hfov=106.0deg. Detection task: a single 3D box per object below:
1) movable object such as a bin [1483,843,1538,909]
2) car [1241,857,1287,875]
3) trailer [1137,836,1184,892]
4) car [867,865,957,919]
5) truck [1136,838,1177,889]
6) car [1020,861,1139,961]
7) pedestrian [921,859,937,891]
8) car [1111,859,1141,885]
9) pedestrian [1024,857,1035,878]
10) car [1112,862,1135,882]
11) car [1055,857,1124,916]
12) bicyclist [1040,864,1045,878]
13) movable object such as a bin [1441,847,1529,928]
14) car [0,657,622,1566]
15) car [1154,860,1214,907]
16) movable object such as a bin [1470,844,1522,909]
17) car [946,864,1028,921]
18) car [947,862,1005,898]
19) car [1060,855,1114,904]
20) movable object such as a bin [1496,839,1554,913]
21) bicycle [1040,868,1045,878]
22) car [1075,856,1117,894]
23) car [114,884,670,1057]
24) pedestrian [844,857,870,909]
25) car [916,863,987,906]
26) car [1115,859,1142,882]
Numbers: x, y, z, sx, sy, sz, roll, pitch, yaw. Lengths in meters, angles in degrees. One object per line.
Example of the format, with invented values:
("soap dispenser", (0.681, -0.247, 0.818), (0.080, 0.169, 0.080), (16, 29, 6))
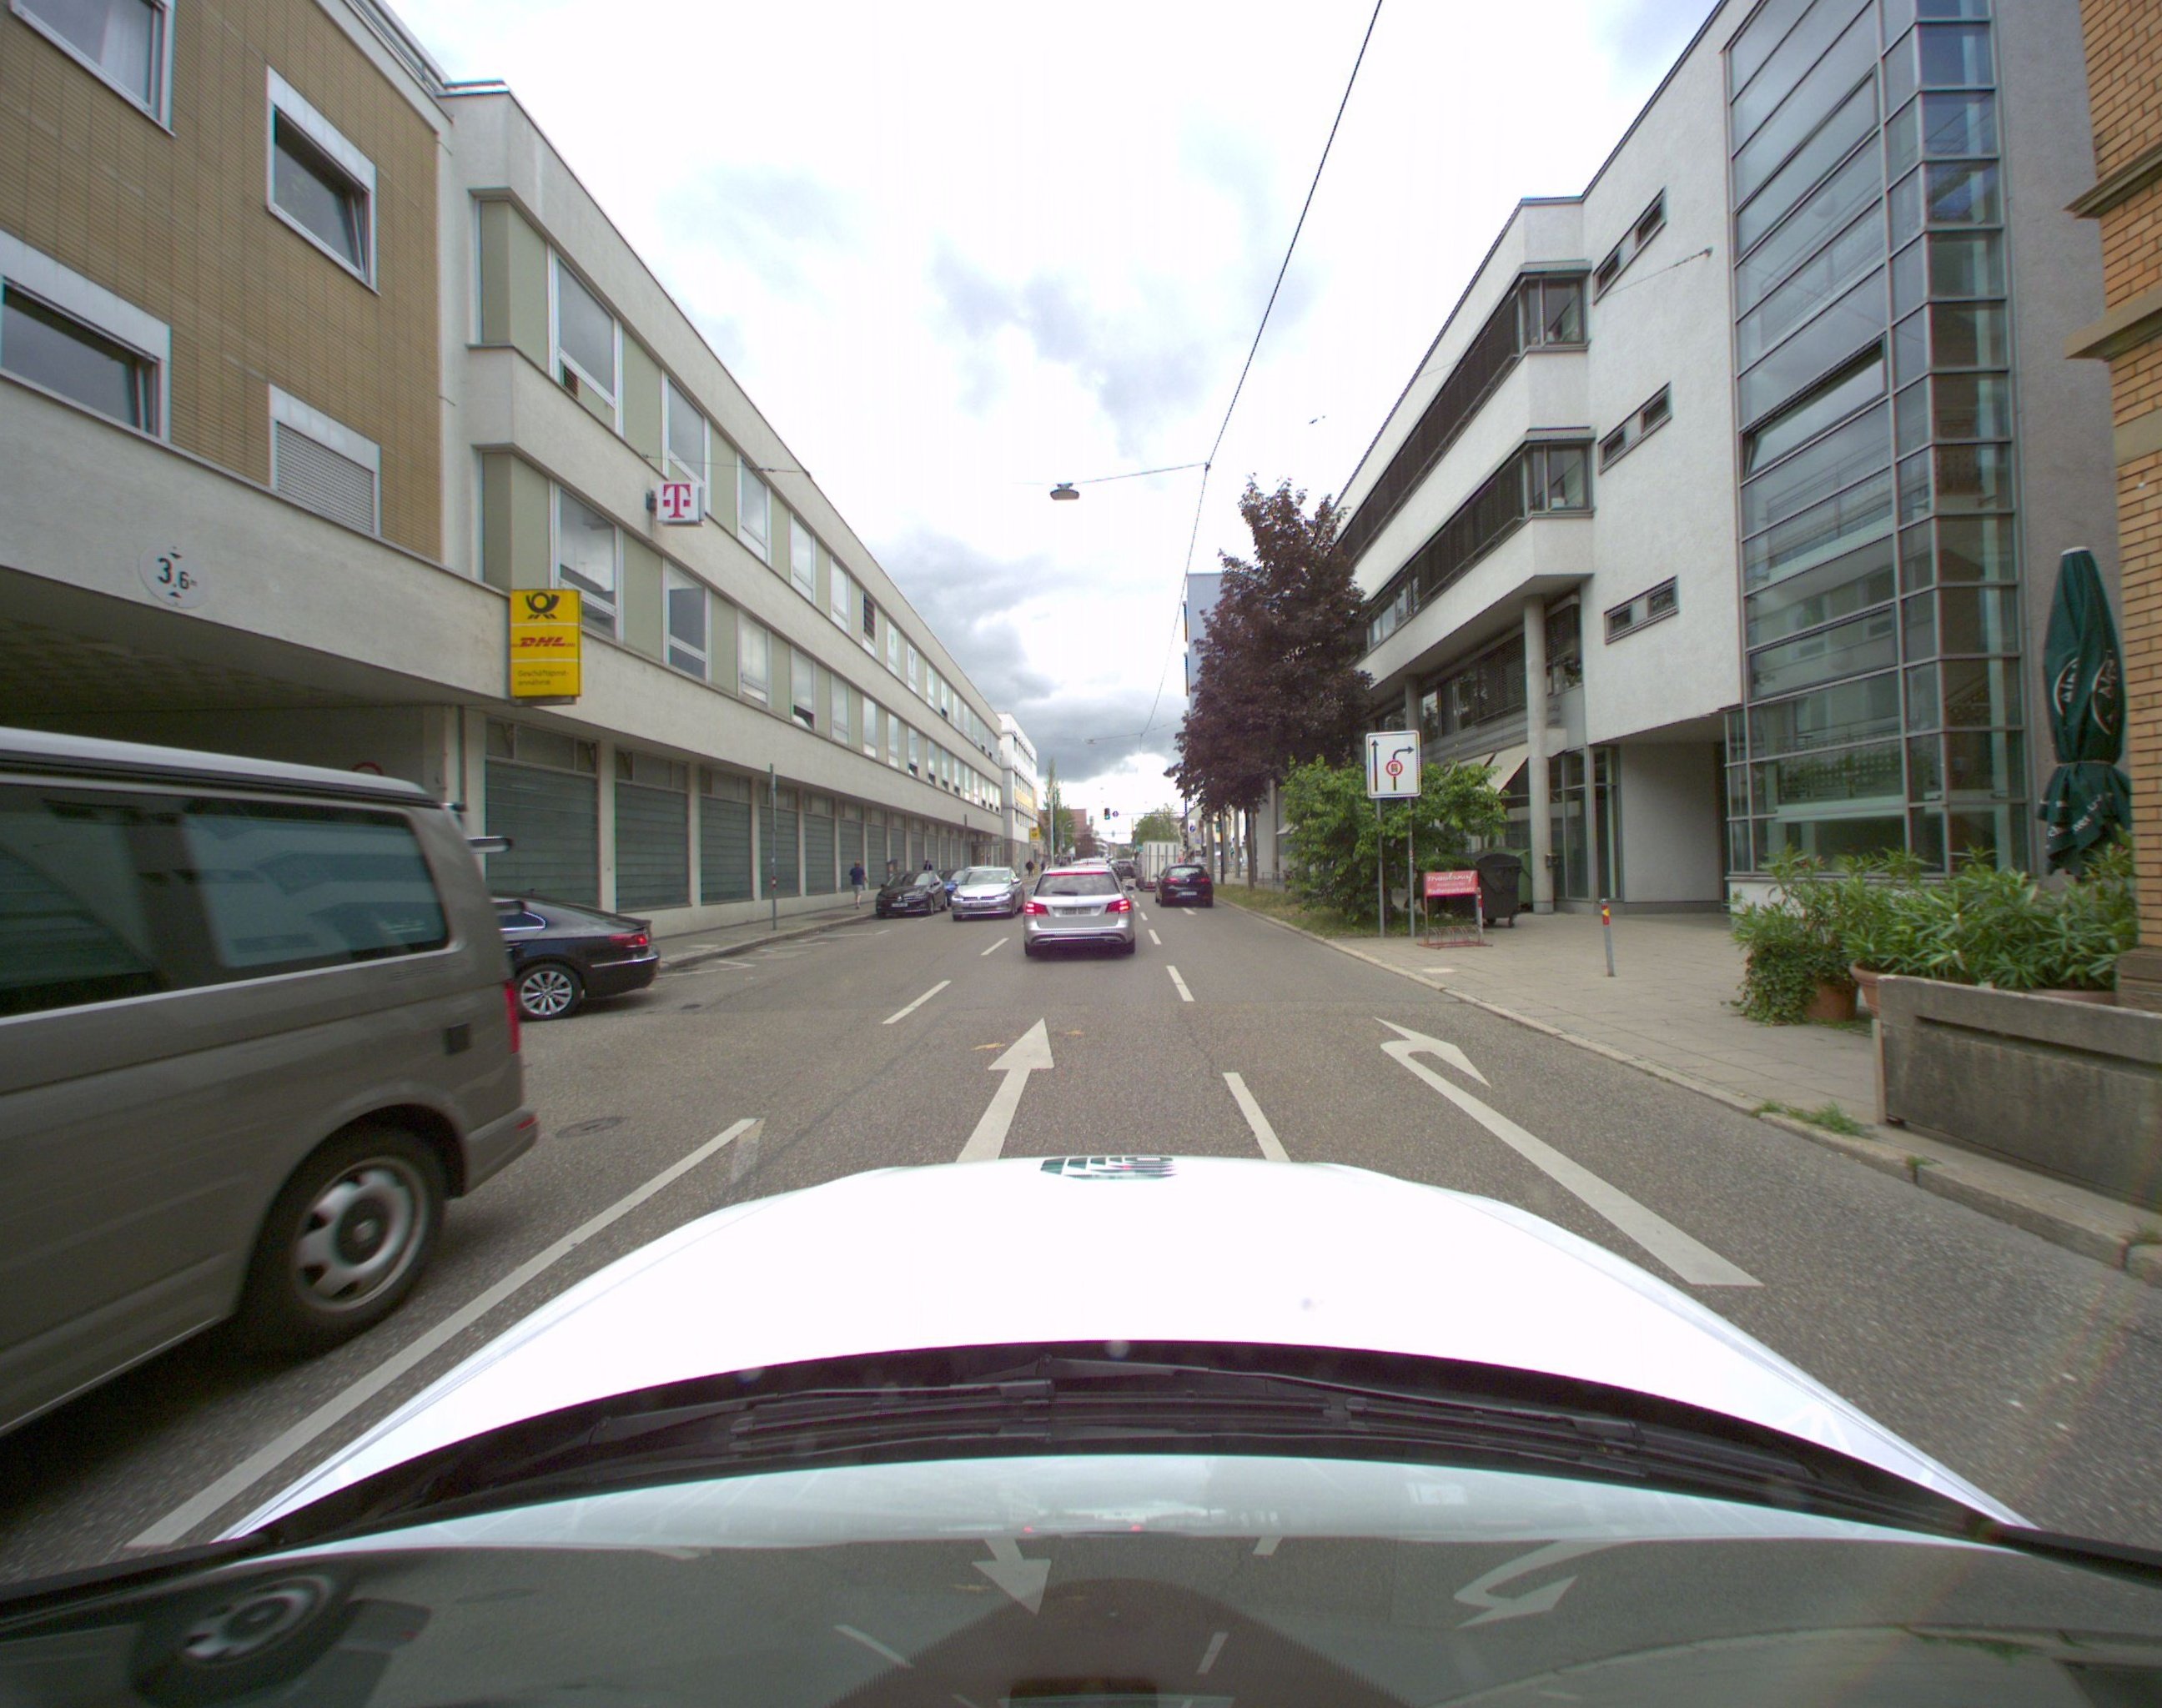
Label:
("movable object such as a bin", (10.177, 0.521, 19.321), (0.817, 1.490, 0.732), (-4, -2, 3))
("car", (17.604, 1.151, 78.387), (3.988, 1.651, 1.837), (0, -1, -11))
("trailer", (3.984, 0.497, 41.736), (1.986, 2.607, 5.351), (-1, 0, 2))
("car", (-5.444, 1.177, 26.768), (1.906, 1.517, 4.176), (-3, 0, 2))
("truck", (4.078, 0.504, 44.523), (1.986, 2.607, 3.261), (-1, 0, 2))
("car", (0.034, 0.887, 14.344), (1.796, 1.492, 3.739), (-1, 0, 2))
("pedestrian", (-7.863, 1.072, 42.167), (0.653, 1.623, 0.681), (-1, -1, 3))
("car", (2.862, 1.100, 52.296), (1.796, 1.601, 3.739), (0, 0, 2))
("pedestrian", (-4.705, 1.203, 74.502), (0.915, 1.869, 0.783), (-1, -1, 1))
("car", (3.497, 1.448, 67.174), (1.796, 1.601, 3.739), (0, 0, 2))
("car", (0.294, 0.880, 23.601), (1.796, 1.553, 3.739), (-1, 0, 2))
("bicyclist", (-4.519, 2.013, 95.734), (0.443, 1.697, 0.556), (0, -1, 1))
("movable object such as a bin", (7.906, 0.644, 16.002), (0.940, 1.470, 1.445), (-3, -1, 0))
("car", (-3.413, 0.600, 1.658), (1.986, 2.013, 4.904), (-2, 0, 2))
("car", (3.457, 0.957, 27.890), (1.758, 1.433, 3.831), (-1, 0, 3))
("movable object such as a bin", (10.217, 0.555, 20.077), (0.817, 1.504, 0.732), (-4, -2, 3))
("car", (-2.669, 1.071, 24.113), (1.762, 1.413, 4.176), (-3, 0, 2))
("car", (-4.855, 1.189, 38.164), (1.986, 1.517, 4.176), (-1, 0, 2))
("car", (0.251, 0.860, 29.042), (1.796, 1.601, 3.739), (0, 0, 2))
("movable object such as a bin", (10.116, 0.502, 18.566), (0.817, 1.590, 0.732), (-4, -2, 3))
("bicycle", (-4.518, 2.273, 95.691), (0.443, 1.167, 1.921), (0, -1, 2))
("car", (0.701, 0.915, 36.866), (1.796, 1.601, 3.739), (0, 0, 2))
("car", (-7.071, 1.107, 9.090), (4.423, 1.366, 1.770), (-1, 0, -28))
("pedestrian", (-7.781, 0.982, 28.255), (0.640, 1.769, 0.810), (-1, -1, 2))
("car", (-5.071, 1.170, 32.460), (1.986, 1.517, 4.176), (-1, 0, 2))
("car", (3.398, 1.184, 58.628), (1.796, 1.601, 3.739), (0, 0, 2))
